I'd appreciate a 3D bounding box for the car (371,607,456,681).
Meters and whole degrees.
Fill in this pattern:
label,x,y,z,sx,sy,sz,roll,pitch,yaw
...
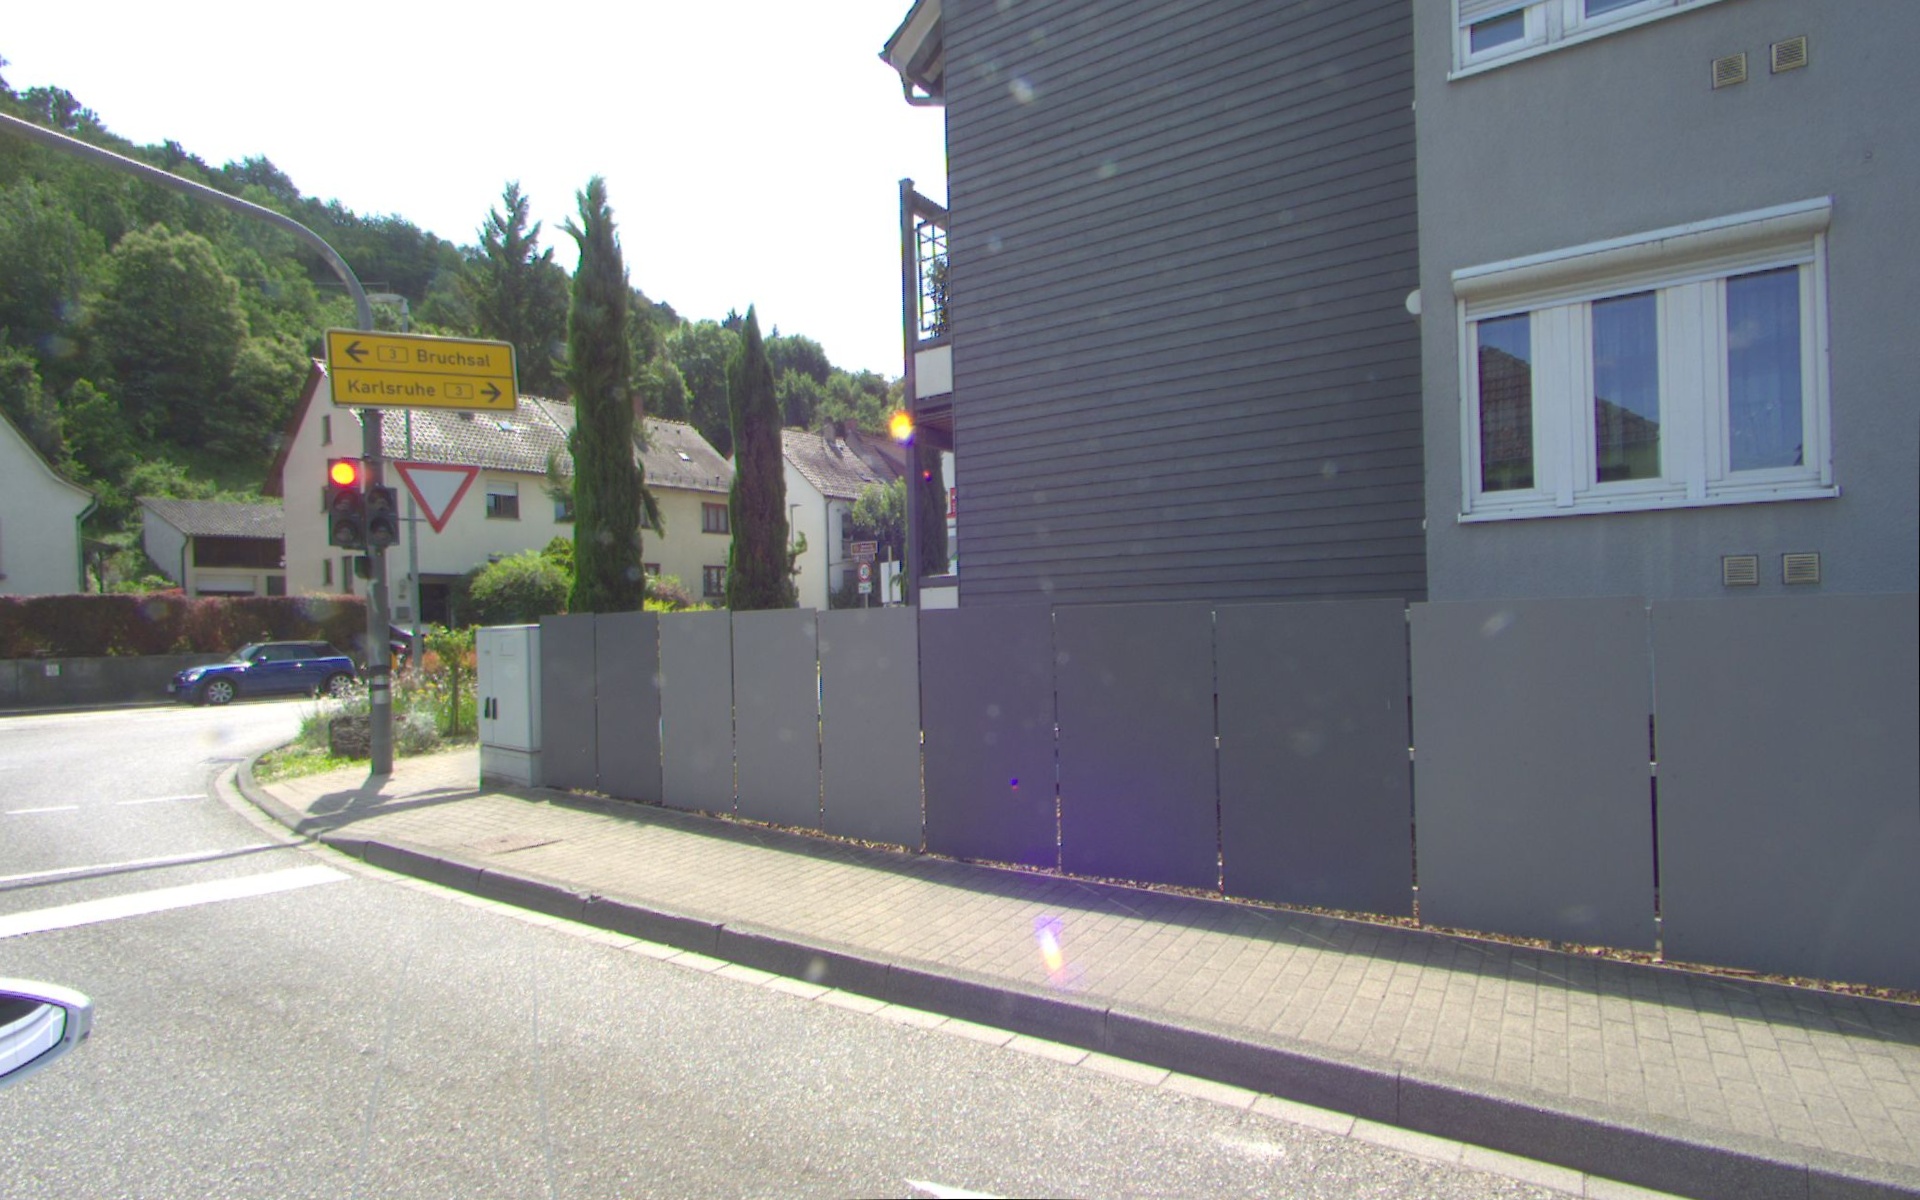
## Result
label,x,y,z,sx,sy,sz,roll,pitch,yaw
car,-17.283,1.315,31.567,1.780,1.410,3.650,0,12,-38

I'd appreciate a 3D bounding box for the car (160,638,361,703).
label,x,y,z,sx,sy,sz,roll,pitch,yaw
car,-16.468,1.625,23.702,1.624,1.379,3.597,-5,-4,36
